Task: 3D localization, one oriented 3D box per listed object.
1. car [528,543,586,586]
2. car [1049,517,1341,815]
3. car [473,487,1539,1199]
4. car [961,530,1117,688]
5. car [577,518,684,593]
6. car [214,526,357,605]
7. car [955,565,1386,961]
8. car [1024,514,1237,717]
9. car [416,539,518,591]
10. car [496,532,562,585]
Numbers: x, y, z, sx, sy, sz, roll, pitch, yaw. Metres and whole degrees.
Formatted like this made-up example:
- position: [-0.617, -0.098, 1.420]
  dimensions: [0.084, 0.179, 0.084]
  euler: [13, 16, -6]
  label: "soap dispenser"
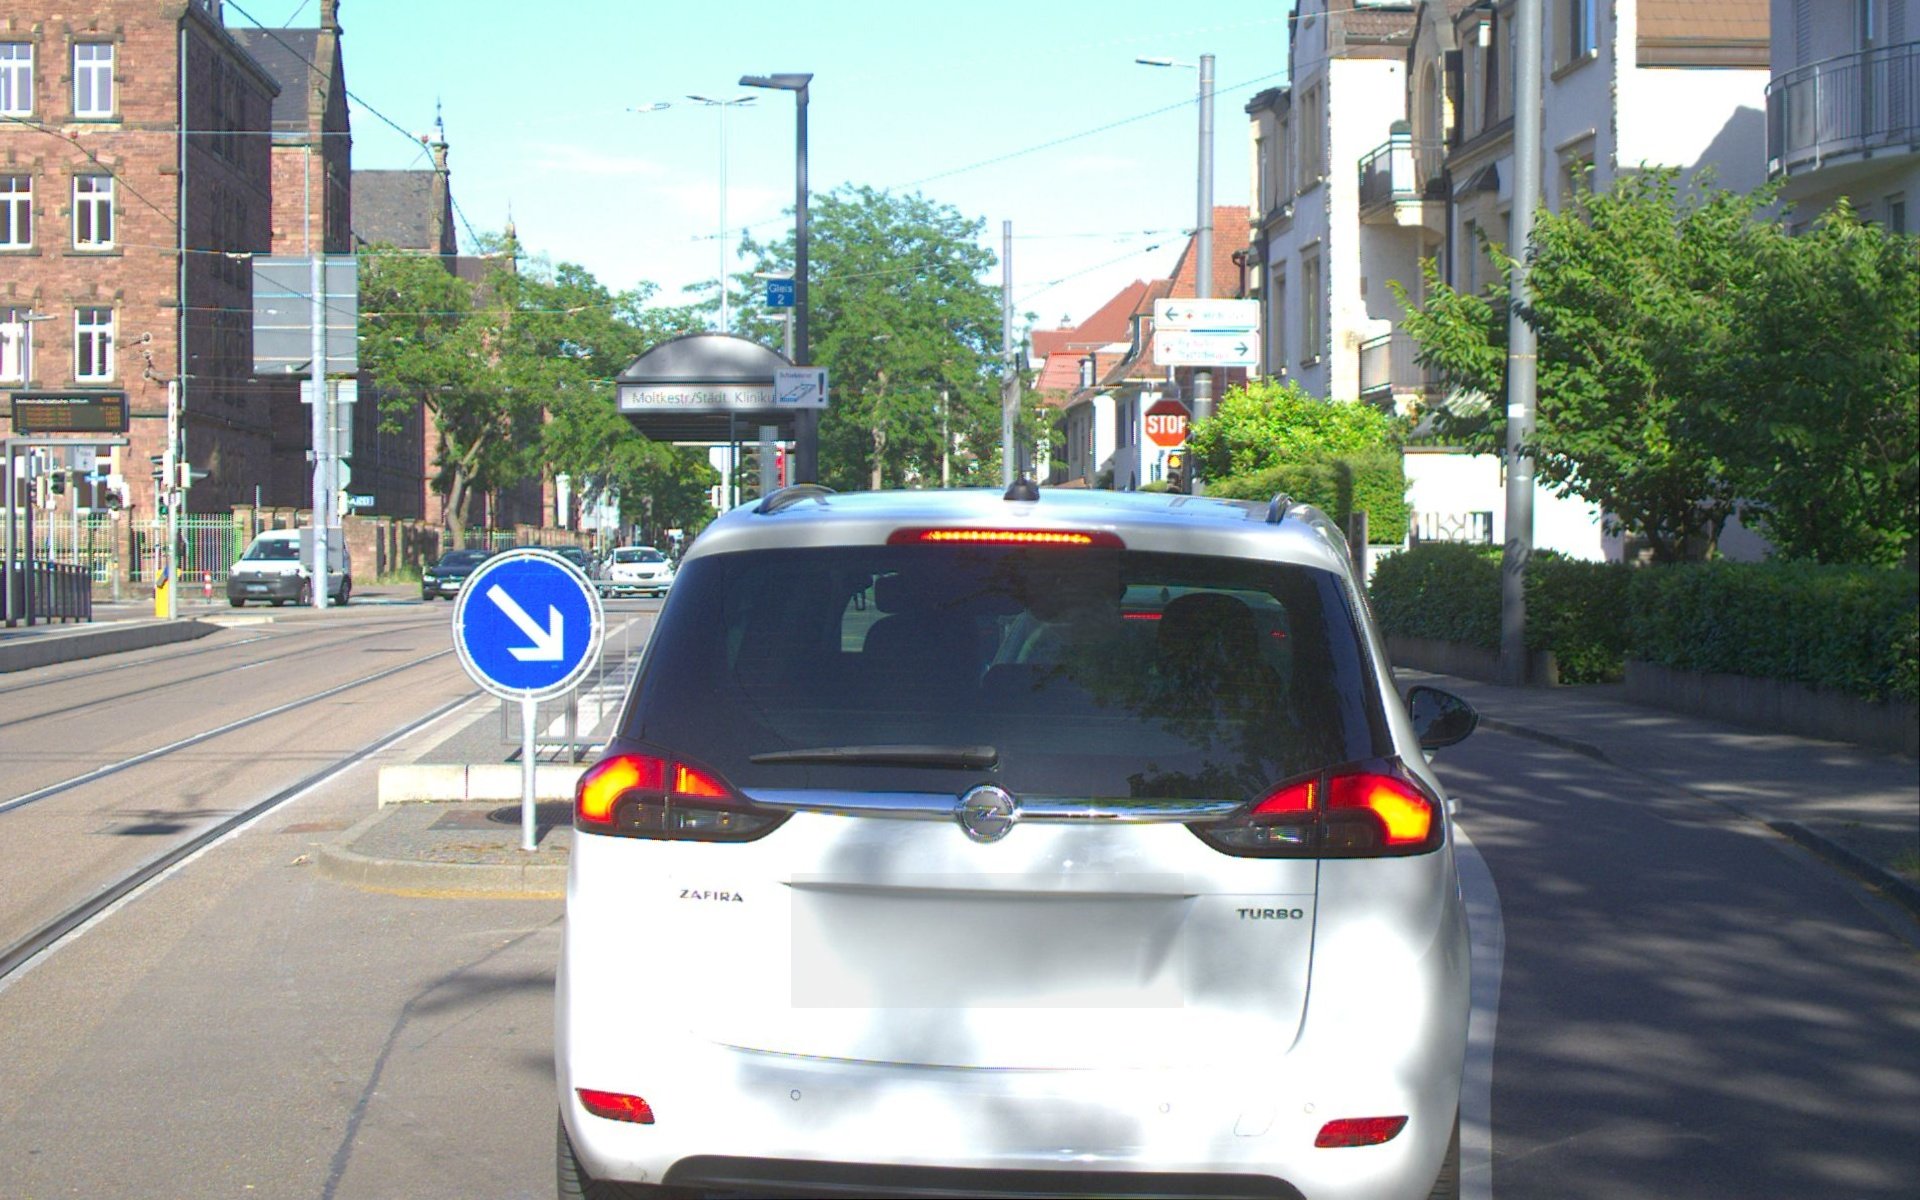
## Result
- position: [-13.921, -1.226, 118.872]
  dimensions: [1.826, 1.441, 4.328]
  euler: [0, 0, -4]
  label: "car"
- position: [1.470, 0.330, 21.045]
  dimensions: [1.569, 1.609, 3.783]
  euler: [2, 1, 5]
  label: "car"
- position: [0.239, 0.564, 8.101]
  dimensions: [1.878, 1.579, 3.999]
  euler: [1, 1, 5]
  label: "car"
- position: [0.867, 0.060, 39.609]
  dimensions: [1.596, 1.629, 3.902]
  euler: [2, 2, -1]
  label: "car"
- position: [-9.110, -1.237, 94.740]
  dimensions: [1.993, 2.007, 4.001]
  euler: [0, 1, -20]
  label: "car"
- position: [-15.687, -0.832, 80.186]
  dimensions: [1.828, 1.782, 4.253]
  euler: [0, 1, 11]
  label: "car"
- position: [0.951, 0.590, 14.796]
  dimensions: [1.569, 1.396, 3.783]
  euler: [2, 1, 5]
  label: "car"
- position: [1.453, 0.094, 30.516]
  dimensions: [1.596, 1.629, 3.901]
  euler: [2, 1, -1]
  label: "car"
- position: [-13.624, -0.996, 95.306]
  dimensions: [1.798, 1.377, 4.494]
  euler: [0, 1, 5]
  label: "car"
- position: [-13.646, -1.292, 109.066]
  dimensions: [1.826, 1.611, 4.328]
  euler: [0, 0, -4]
  label: "car"
